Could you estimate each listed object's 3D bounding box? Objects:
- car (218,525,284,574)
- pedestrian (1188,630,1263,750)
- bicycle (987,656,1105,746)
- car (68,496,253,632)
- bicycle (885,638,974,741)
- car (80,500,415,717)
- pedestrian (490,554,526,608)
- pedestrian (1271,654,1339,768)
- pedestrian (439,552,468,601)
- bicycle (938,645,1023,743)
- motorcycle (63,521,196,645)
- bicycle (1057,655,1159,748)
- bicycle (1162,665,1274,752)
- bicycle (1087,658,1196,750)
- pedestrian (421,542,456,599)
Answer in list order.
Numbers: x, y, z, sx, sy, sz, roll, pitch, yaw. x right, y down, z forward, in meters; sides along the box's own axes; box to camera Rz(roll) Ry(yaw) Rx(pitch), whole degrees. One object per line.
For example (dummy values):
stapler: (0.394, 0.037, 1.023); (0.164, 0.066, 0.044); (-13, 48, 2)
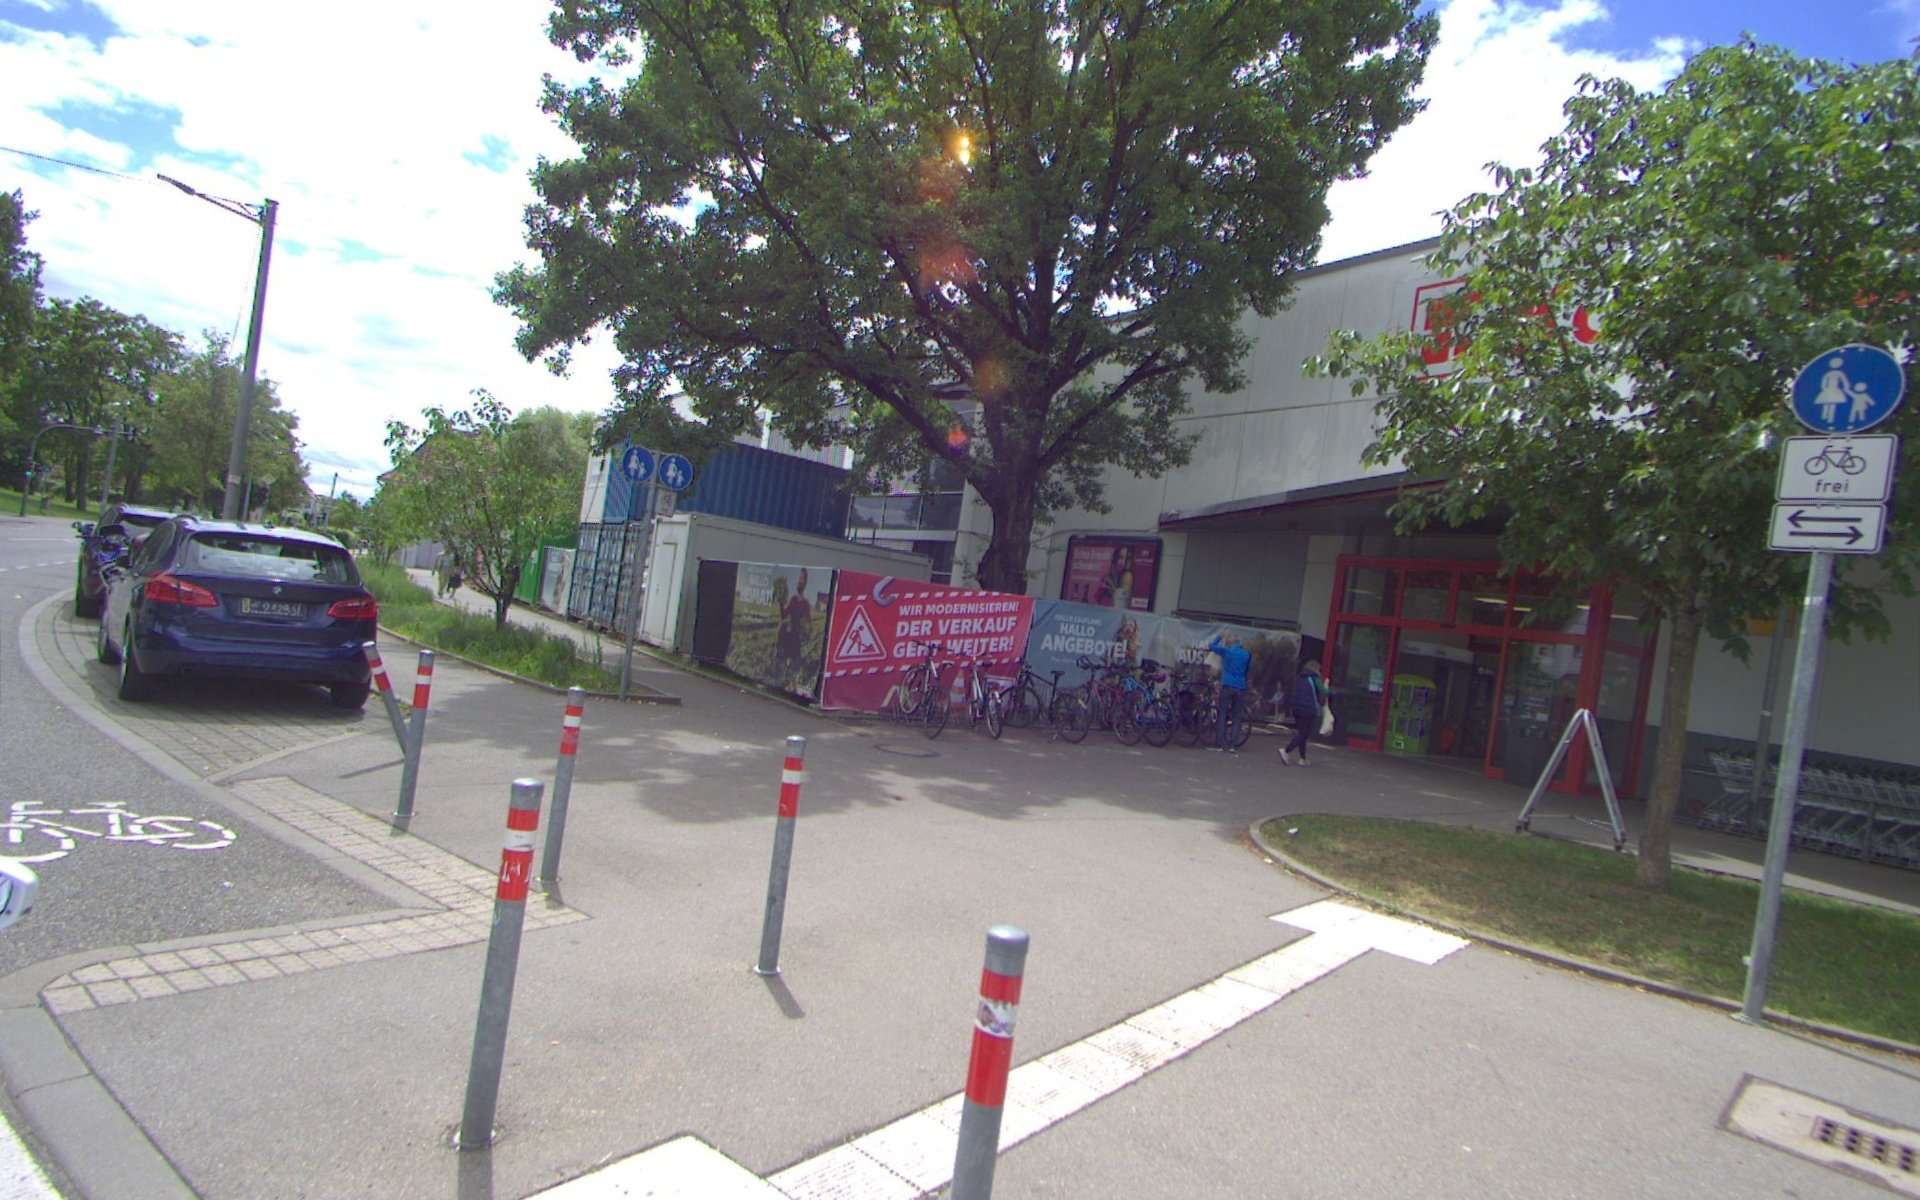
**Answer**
car: (-28.058, -2.000, 39.916); (1.724, 1.636, 4.351); (6, 0, -31)
pedestrian: (4.153, 1.403, 15.760); (0.617, 1.779, 0.742); (5, 1, -30)
bicycle: (1.233, 1.454, 14.747); (0.517, 1.053, 1.781); (7, -1, -39)
car: (-12.538, -0.616, 15.666); (1.872, 1.641, 4.790); (7, -1, -42)
bicycle: (-0.441, 1.164, 13.537); (0.445, 1.168, 1.782); (8, -2, -22)
car: (-7.102, -0.012, 9.818); (1.911, 1.597, 4.374); (7, -1, -44)
pedestrian: (-14.658, -0.626, 32.619); (0.738, 1.636, 0.760); (8, -1, -34)
pedestrian: (5.096, 1.642, 14.857); (0.620, 1.585, 0.491); (8, -1, -32)
pedestrian: (-19.052, -0.899, 37.838); (0.648, 1.717, 0.837); (8, -1, -34)
bicycle: (0.257, 1.289, 14.222); (0.494, 1.168, 1.766); (8, -2, -18)
motorcycle: (-10.418, -0.234, 12.578); (1.067, 1.322, 2.232); (5, 1, -44)
bicycle: (2.232, 1.525, 15.362); (0.422, 1.168, 1.647); (9, -2, -32)
bicycle: (4.284, 1.783, 16.868); (0.525, 1.168, 1.899); (9, -2, -29)
bicycle: (2.802, 1.603, 15.711); (0.436, 1.168, 1.751); (9, -2, -34)
pedestrian: (-16.763, -0.937, 32.340); (0.648, 1.716, 0.717); (9, -1, -40)
